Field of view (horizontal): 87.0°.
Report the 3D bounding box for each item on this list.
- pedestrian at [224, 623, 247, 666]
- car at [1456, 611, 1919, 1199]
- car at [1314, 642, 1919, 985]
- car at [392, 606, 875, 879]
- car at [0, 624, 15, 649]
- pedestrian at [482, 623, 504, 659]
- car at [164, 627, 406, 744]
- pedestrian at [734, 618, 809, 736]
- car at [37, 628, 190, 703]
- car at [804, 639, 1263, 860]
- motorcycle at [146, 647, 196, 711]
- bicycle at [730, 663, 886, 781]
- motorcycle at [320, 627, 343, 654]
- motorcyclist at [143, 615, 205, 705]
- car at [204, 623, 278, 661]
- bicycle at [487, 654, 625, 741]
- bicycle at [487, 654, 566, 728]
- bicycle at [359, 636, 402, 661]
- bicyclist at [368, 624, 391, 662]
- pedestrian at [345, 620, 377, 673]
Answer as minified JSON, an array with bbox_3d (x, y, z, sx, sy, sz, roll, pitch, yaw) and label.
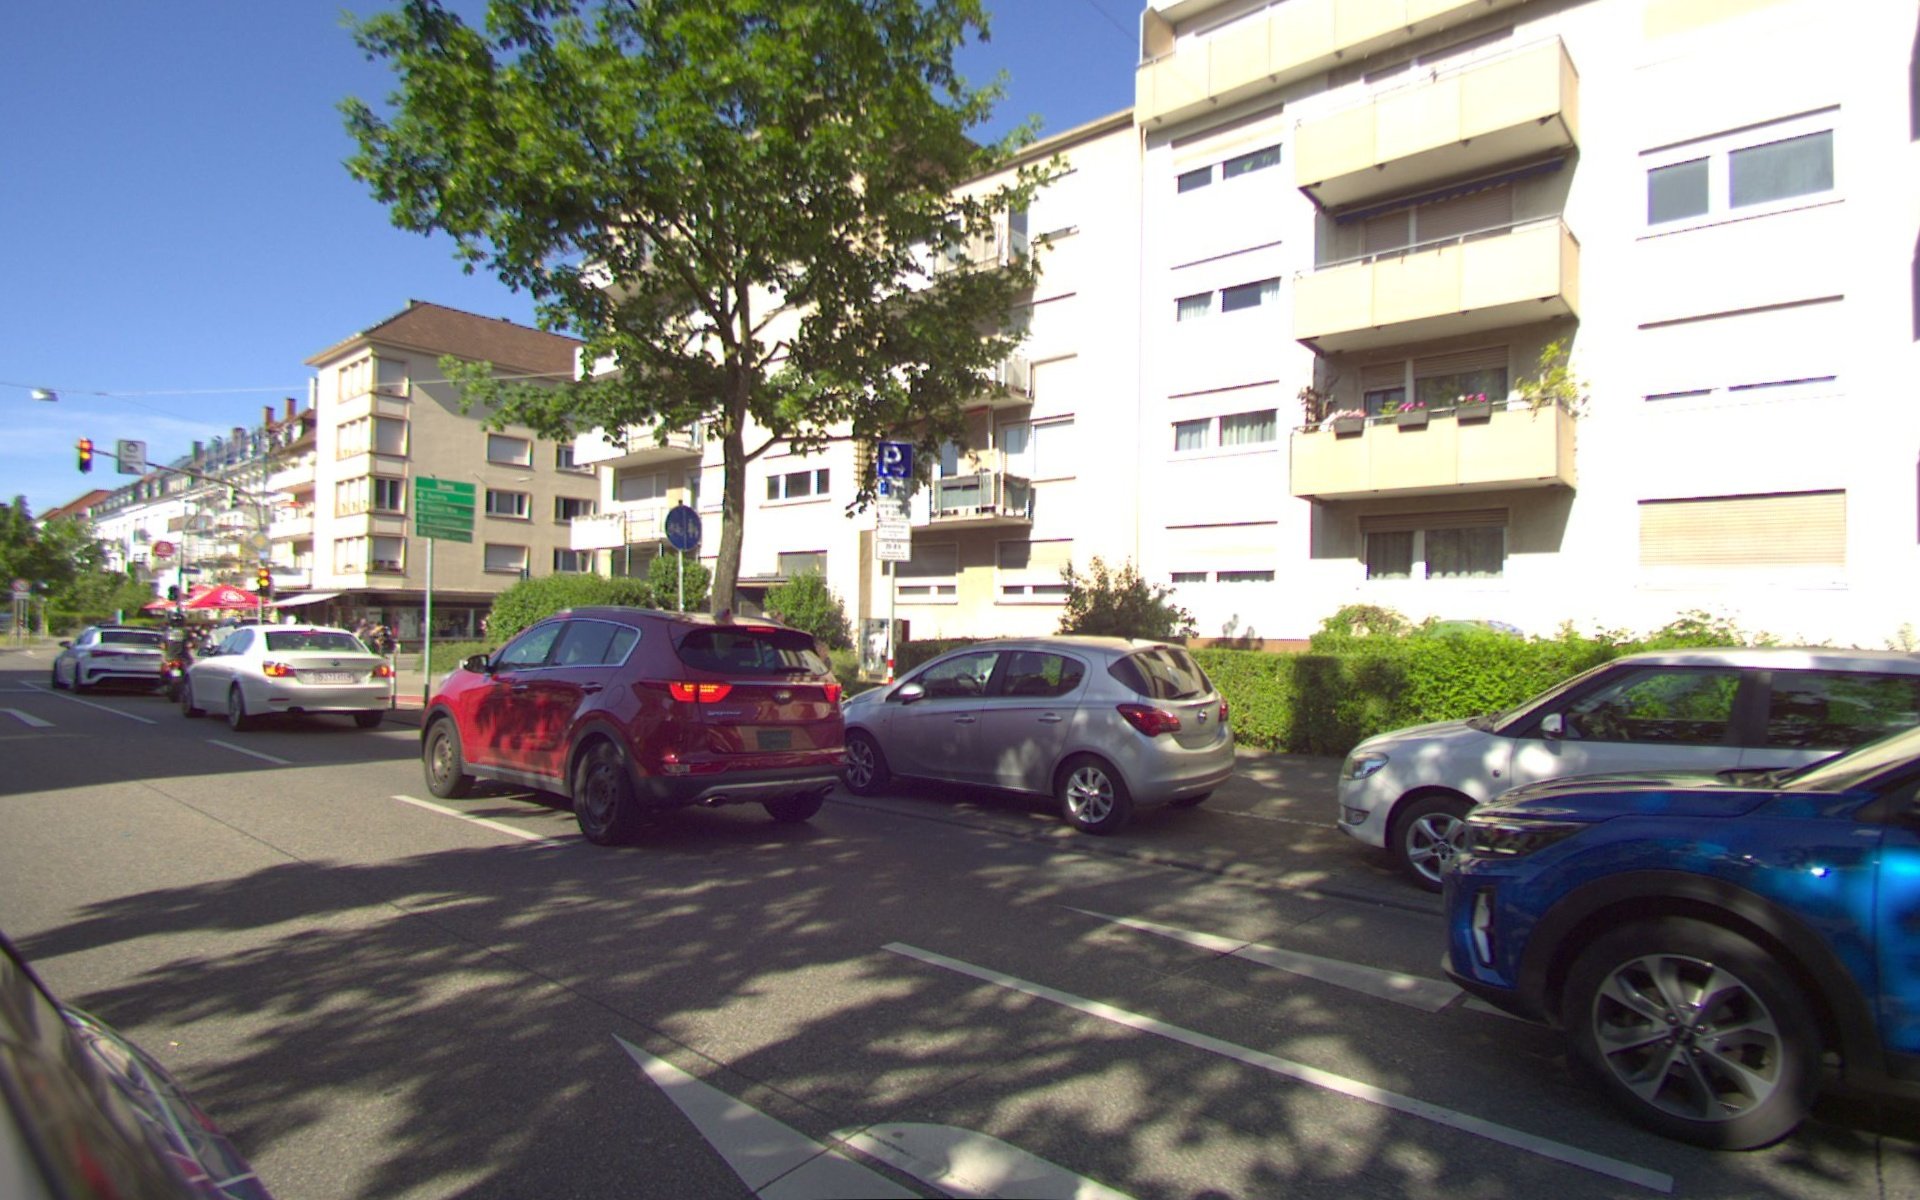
[{"bbox_3d":[-29.669,1.805,41.420,0.661,1.731,0.584,3,-2,-40],"label":"pedestrian"},{"bbox_3d":[3.705,0.845,2.628,4.074,1.529,1.638,-1,-5,41],"label":"car"},{"bbox_3d":[4.088,1.016,5.732,3.684,1.501,1.386,-1,-2,42],"label":"car"},{"bbox_3d":[-2.810,0.965,8.161,4.298,1.629,1.703,-2,-6,42],"label":"car"},{"bbox_3d":[-53.791,2.032,56.441,3.092,1.366,1.305,-1,-3,42],"label":"car"},{"bbox_3d":[-22.845,1.998,49.529,0.683,1.747,0.719,0,-2,39],"label":"pedestrian"},{"bbox_3d":[-10.273,1.197,15.242,4.776,1.476,1.794,-1,-5,41],"label":"car"},{"bbox_3d":[-2.831,1.121,15.195,0.929,1.699,0.662,-1,-2,40],"label":"pedestrian"},{"bbox_3d":[-18.258,1.384,21.757,4.503,1.417,1.680,-1,-5,40],"label":"car"},{"bbox_3d":[0.485,1.108,8.870,3.893,1.487,1.489,-1,-2,40],"label":"car"},{"bbox_3d":[-15.022,1.486,19.253,0.442,1.130,1.933,6,-5,-45],"label":"motorcycle"},{"bbox_3d":[-1.655,1.308,11.286,0.559,1.095,1.808,-1,0,40],"label":"bicycle"},{"bbox_3d":[-33.579,2.152,54.034,1.763,1.378,0.562,-1,-3,43],"label":"motorcycle"},{"bbox_3d":[-14.983,1.134,19.282,0.720,1.659,0.918,6,-5,-44],"label":"motorcyclist"},{"bbox_3d":[-32.375,1.861,45.509,4.302,1.635,1.742,-1,-3,42],"label":"car"},{"bbox_3d":[-6.033,1.425,15.229,0.518,1.171,1.949,-1,-2,36],"label":"bicycle"},{"bbox_3d":[-6.937,1.425,16.169,1.705,1.087,0.422,-1,-3,40],"label":"bicycle"},{"bbox_3d":[-25.149,2.107,43.941,0.449,1.085,1.546,-1,-3,39],"label":"bicycle"},{"bbox_3d":[-25.202,1.853,43.947,0.578,1.619,0.677,-1,-3,39],"label":"bicyclist"},{"bbox_3d":[-19.487,1.508,32.926,0.682,1.671,0.650,-1,-3,42],"label":"pedestrian"}]
